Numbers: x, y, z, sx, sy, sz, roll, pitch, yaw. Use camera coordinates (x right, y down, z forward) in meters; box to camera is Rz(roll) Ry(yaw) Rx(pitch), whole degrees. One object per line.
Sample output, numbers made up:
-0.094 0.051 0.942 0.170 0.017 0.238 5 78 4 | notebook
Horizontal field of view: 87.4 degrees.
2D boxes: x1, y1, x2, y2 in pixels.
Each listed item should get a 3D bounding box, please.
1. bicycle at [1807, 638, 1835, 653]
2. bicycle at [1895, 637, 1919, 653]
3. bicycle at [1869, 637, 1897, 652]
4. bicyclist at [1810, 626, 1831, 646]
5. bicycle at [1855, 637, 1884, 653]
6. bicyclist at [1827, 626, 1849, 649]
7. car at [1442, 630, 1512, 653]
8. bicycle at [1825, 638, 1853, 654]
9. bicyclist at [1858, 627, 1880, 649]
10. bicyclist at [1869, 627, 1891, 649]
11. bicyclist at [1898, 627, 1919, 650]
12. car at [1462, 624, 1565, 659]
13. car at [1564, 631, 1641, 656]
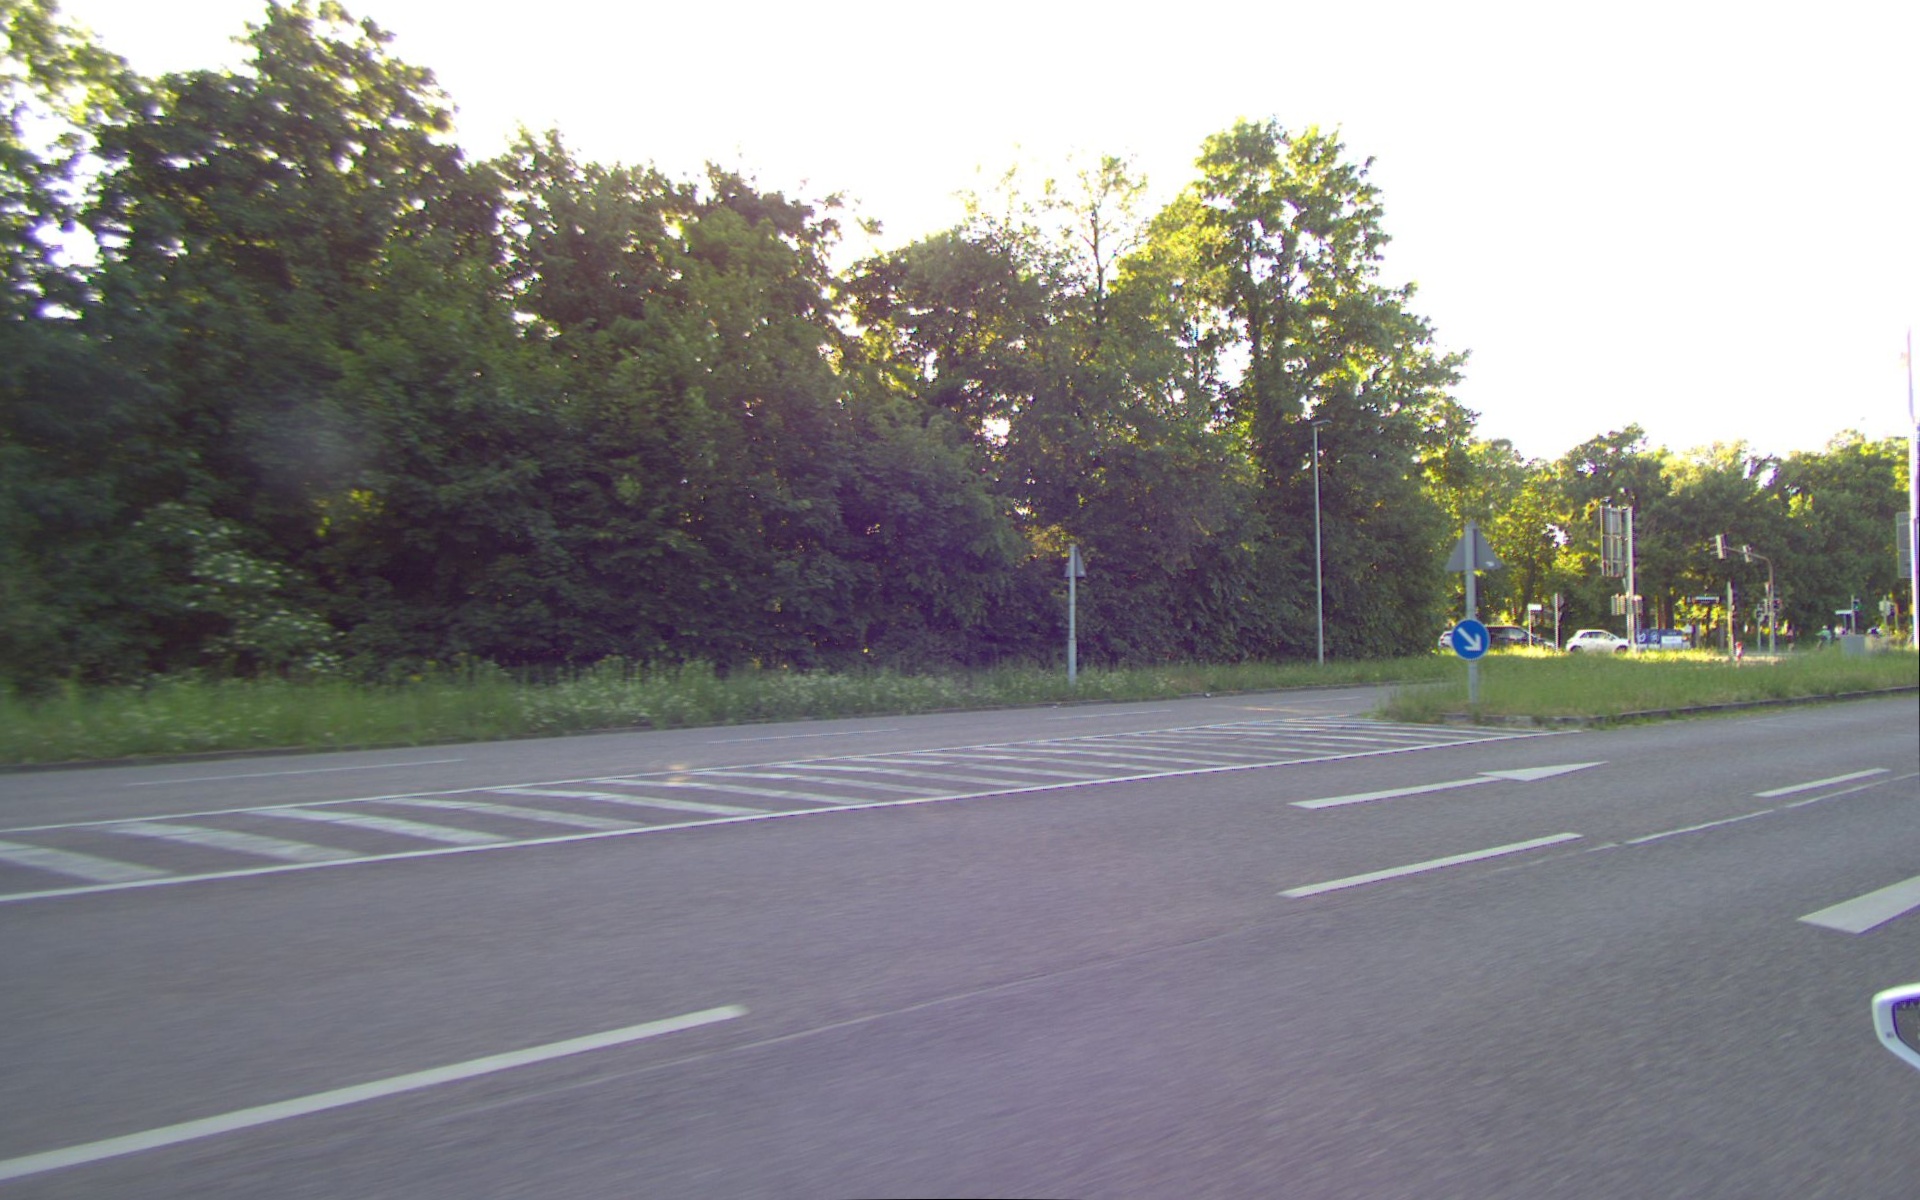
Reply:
54.023 2.858 63.025 1.887 0.926 0.712 0 -1 -29 | bicycle
56.667 2.701 59.942 1.887 0.926 0.712 1 -2 -29 | bicycle
57.547 2.787 62.635 1.887 0.926 0.712 1 -2 -29 | bicycle
54.019 2.258 63.042 0.978 1.208 0.712 1 -2 -29 | bicyclist
55.766 2.767 61.585 1.887 0.926 0.712 1 -2 -29 | bicycle
54.390 2.347 62.208 0.978 1.408 0.707 1 -2 -29 | bicyclist
32.204 2.601 62.614 3.735 1.407 1.849 -2 -2 33 | car
54.425 2.836 62.209 1.887 0.926 0.712 1 -2 -29 | bicycle
55.761 2.328 61.593 0.978 1.373 0.712 1 -2 -29 | bicyclist
57.149 2.336 62.425 0.978 1.360 0.712 1 -2 -29 | bicyclist
56.717 2.303 59.978 0.978 1.356 0.712 1 -2 -29 | bicyclist
30.591 2.286 55.570 4.850 1.854 1.923 -2 -2 33 | car
37.644 2.548 58.903 3.735 1.407 1.923 -2 -2 33 | car
